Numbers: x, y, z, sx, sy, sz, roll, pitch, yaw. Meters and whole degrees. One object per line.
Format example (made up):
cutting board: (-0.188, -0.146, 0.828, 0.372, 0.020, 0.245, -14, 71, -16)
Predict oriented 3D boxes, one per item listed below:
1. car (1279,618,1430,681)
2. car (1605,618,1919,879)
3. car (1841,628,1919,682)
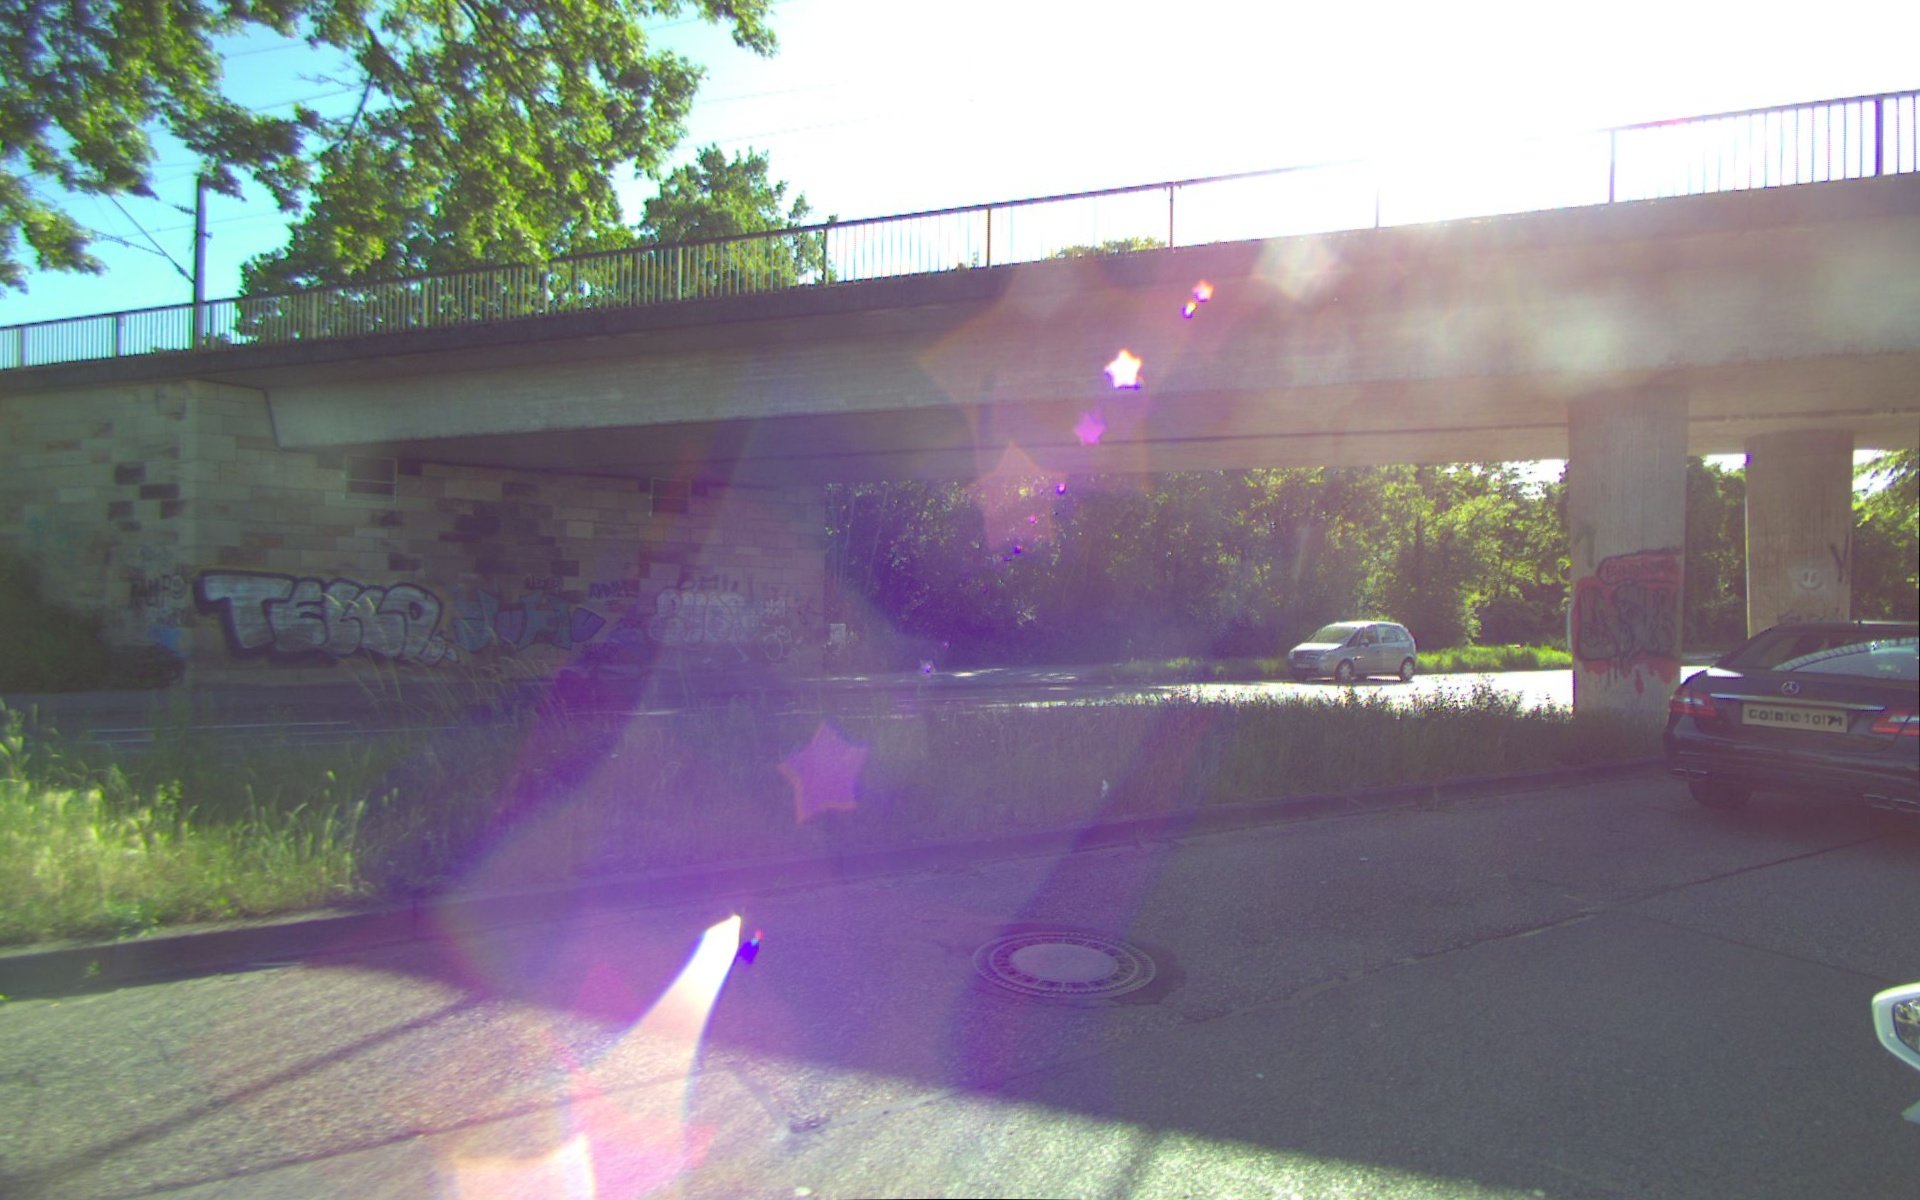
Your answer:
car: (10.932, 1.363, 27.784, 4.130, 1.638, 1.721, 2, -2, -30)
car: (7.360, 0.933, 7.791, 4.859, 1.502, 1.950, 1, -1, -30)
car: (29.398, 1.713, 31.219, 3.953, 1.563, 1.834, 2, -4, -30)
